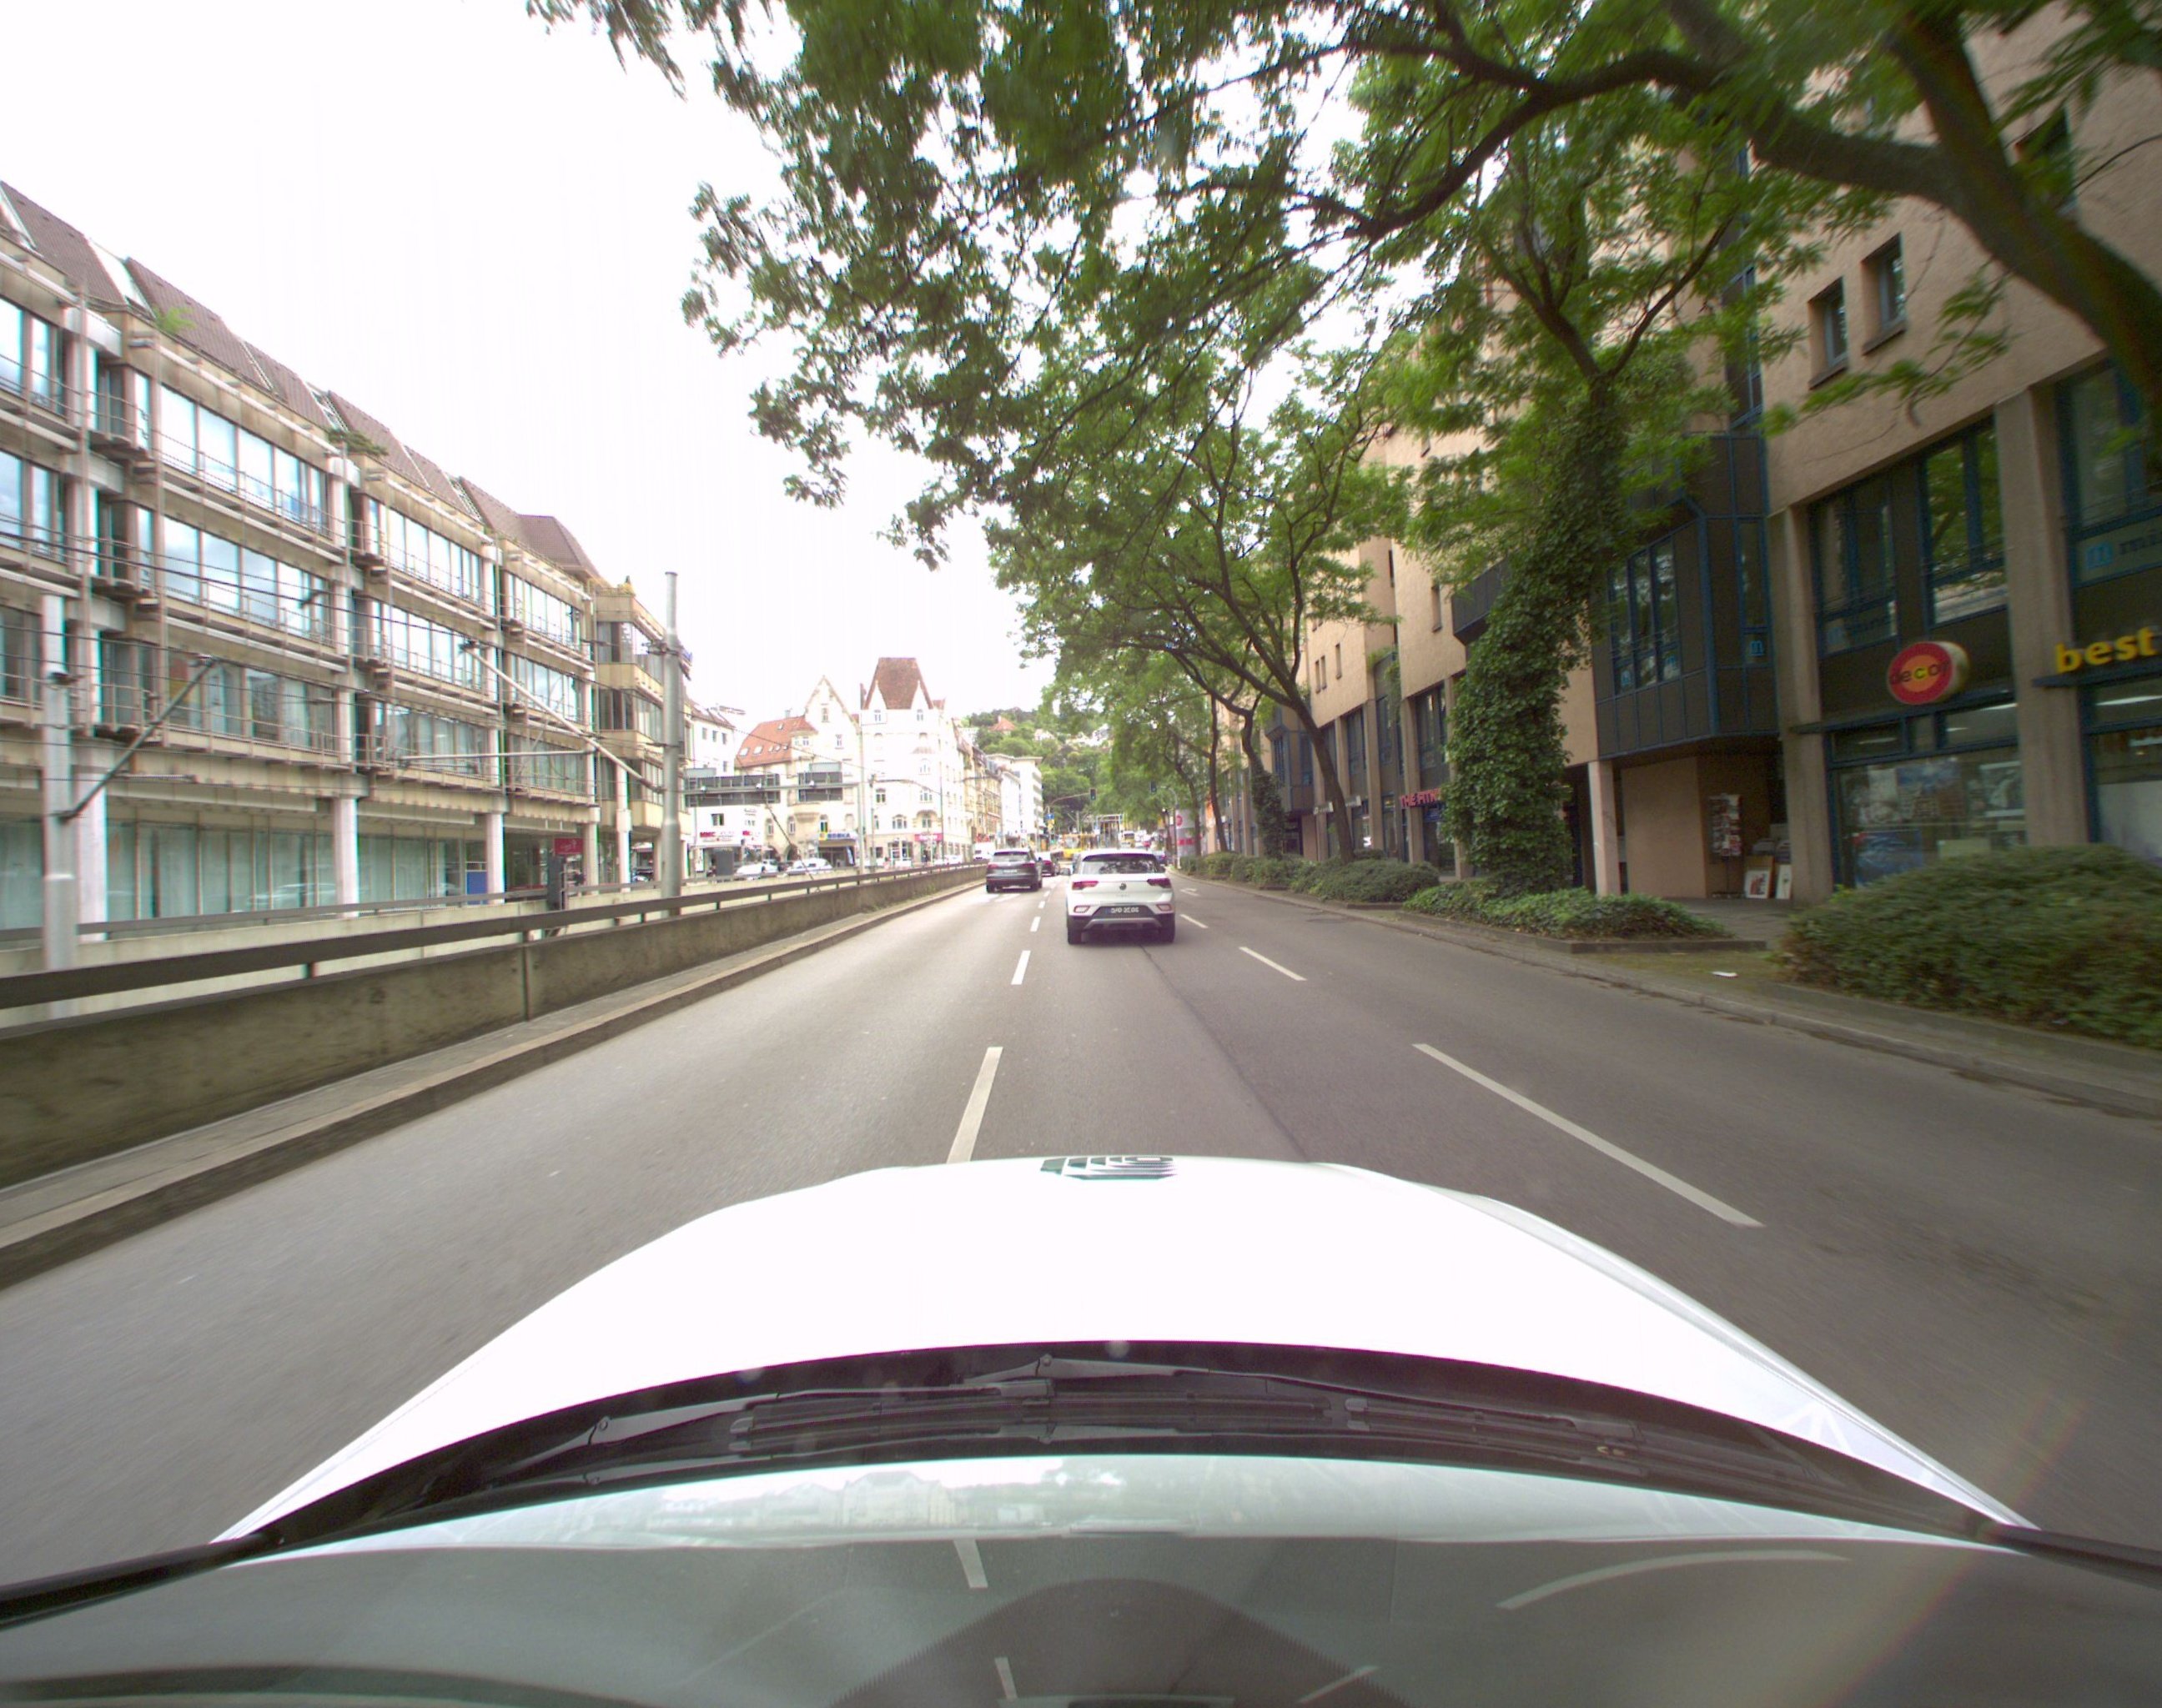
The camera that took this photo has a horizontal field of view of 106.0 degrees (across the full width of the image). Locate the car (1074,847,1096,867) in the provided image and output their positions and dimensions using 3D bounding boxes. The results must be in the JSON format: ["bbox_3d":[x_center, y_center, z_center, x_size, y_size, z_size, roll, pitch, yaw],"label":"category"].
[{"bbox_3d":[0.342,0.263,72.358,1.879,1.684,4.159,-1,0,-1],"label":"car"}]

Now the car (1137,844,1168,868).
[{"bbox_3d":[6.296,0.163,72.631,2.357,2.013,5.148,-1,0,0],"label":"car"}]

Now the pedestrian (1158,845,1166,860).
[{"bbox_3d":[10.128,-0.241,101.575,0.690,1.777,0.690,-7,0,1],"label":"pedestrian"}]

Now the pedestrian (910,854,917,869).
[{"bbox_3d":[-20.552,0.893,100.073,0.571,1.780,0.513,-2,0,10],"label":"pedestrian"}]

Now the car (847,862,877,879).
[{"bbox_3d":[-21.087,1.540,78.519,1.658,1.501,4.044,-2,0,1],"label":"car"}]

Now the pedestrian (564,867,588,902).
[{"bbox_3d":[-26.469,1.594,42.694,0.728,1.811,0.740,-1,0,0],"label":"pedestrian"}]

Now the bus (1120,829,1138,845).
[{"bbox_3d":[10.201,-3.466,172.179,3.355,3.064,13.344,-1,0,5],"label":"bus"}]

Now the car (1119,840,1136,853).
[{"bbox_3d":[7.730,-1.217,135.727,2.351,2.013,5.161,-1,0,9],"label":"car"}]

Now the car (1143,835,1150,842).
[{"bbox_3d":[15.649,-3.763,194.418,1.665,1.560,3.684,-1,0,5],"label":"car"}]

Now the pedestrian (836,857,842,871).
[{"bbox_3d":[-31.395,1.318,105.561,0.575,1.780,0.510,-2,0,-9],"label":"pedestrian"}]

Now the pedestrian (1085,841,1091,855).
[{"bbox_3d":[0.909,-0.780,106.626,0.682,1.711,0.713,-2,1,5],"label":"pedestrian"}]

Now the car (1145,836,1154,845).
[{"bbox_3d":[17.738,-3.464,210.420,1.986,2.013,4.002,-1,0,2],"label":"car"}]

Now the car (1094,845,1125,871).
[{"bbox_3d":[1.933,0.260,55.911,1.879,1.684,4.159,-1,0,-1],"label":"car"}]

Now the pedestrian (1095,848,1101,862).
[{"bbox_3d":[2.079,0.123,101.040,0.632,1.711,0.873,-2,1,5],"label":"pedestrian"}]

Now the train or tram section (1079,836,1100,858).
[{"bbox_3d":[1.442,-1.220,133.626,2.821,3.520,5.762,-1,1,6],"label":"train or tram section"}]

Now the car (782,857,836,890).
[{"bbox_3d":[-16.005,1.097,48.165,1.830,1.842,4.599,1,0,-3],"label":"car"}]

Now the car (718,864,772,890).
[{"bbox_3d":[-22.404,1.506,54.466,1.658,1.501,4.414,-2,0,1],"label":"car"}]

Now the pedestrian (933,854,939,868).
[{"bbox_3d":[-18.104,0.872,101.505,0.505,1.780,0.580,-2,0,20],"label":"pedestrian"}]

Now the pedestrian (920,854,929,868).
[{"bbox_3d":[-19.415,0.882,101.023,0.703,1.780,0.599,-2,0,21],"label":"pedestrian"}]

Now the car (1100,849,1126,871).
[{"bbox_3d":[3.112,0.559,77.787,2.355,2.013,5.152,-1,0,3],"label":"car"}]

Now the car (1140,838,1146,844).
[{"bbox_3d":[17.062,-3.548,224.661,1.665,1.560,3.684,-1,0,5],"label":"car"}]

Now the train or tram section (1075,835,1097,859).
[{"bbox_3d":[0.838,-1.119,127.888,2.821,3.520,5.762,-1,1,6],"label":"train or tram section"}]

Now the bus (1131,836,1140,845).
[{"bbox_3d":[13.783,-3.385,206.468,1.987,2.013,4.000,-1,0,1],"label":"bus"}]

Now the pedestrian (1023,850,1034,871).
[{"bbox_3d":[-4.420,0.572,68.039,0.761,1.721,0.638,-2,0,5],"label":"pedestrian"}]

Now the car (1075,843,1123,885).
[{"bbox_3d":[0.723,0.414,35.646,1.879,1.684,4.159,-1,0,-1],"label":"car"}]

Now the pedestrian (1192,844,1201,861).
[{"bbox_3d":[13.290,-0.164,93.619,0.832,2.013,0.764,-1,0,1],"label":"pedestrian"}]

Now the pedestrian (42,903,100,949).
[{"bbox_3d":[-29.071,2.066,23.454,0.728,1.265,0.740,-1,0,0],"label":"pedestrian"}]

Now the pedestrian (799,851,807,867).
[{"bbox_3d":[-30.832,0.523,90.360,0.569,1.780,0.515,-2,0,31],"label":"pedestrian"}]

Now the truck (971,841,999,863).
[{"bbox_3d":[-13.736,-0.287,117.072,2.254,3.076,7.390,-1,0,8],"label":"truck"}]

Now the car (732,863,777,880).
[{"bbox_3d":[-32.292,1.714,80.591,4.043,1.501,1.658,-2,0,-20],"label":"car"}]

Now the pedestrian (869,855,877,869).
[{"bbox_3d":[-25.851,1.006,101.222,0.777,1.705,0.655,-2,0,11],"label":"pedestrian"}]

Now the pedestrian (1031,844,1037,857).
[{"bbox_3d":[-6.486,-0.533,112.821,0.623,1.762,0.848,-2,0,6],"label":"pedestrian"}]

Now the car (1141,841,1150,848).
[{"bbox_3d":[12.727,-1.838,160.838,1.574,1.172,3.684,-1,0,5],"label":"car"}]

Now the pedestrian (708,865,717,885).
[{"bbox_3d":[-33.534,1.943,74.119,0.507,1.780,0.578,-2,0,7],"label":"pedestrian"}]

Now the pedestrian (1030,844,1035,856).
[{"bbox_3d":[-6.997,-0.528,117.474,0.634,1.711,0.689,-2,1,-4],"label":"pedestrian"}]

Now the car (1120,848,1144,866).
[{"bbox_3d":[5.751,0.344,92.127,2.357,2.013,5.148,-1,0,0],"label":"car"}]

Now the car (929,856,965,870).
[{"bbox_3d":[-16.271,1.052,99.009,1.732,1.560,4.542,-1,0,30],"label":"car"}]

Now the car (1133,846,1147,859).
[{"bbox_3d":[8.513,-0.211,117.434,1.875,1.684,4.168,-1,0,6],"label":"car"}]

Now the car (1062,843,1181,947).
[{"bbox_3d":[0.596,0.641,14.764,1.832,1.584,4.155,-1,0,-1],"label":"car"}]

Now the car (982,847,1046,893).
[{"bbox_3d":[-2.546,0.579,31.944,1.986,1.636,4.002,-2,0,2],"label":"car"}]

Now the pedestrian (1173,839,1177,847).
[{"bbox_3d":[18.603,-2.240,161.452,0.637,1.615,0.584,-1,0,-15],"label":"pedestrian"}]

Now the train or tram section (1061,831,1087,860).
[{"bbox_3d":[-0.849,-1.161,110.635,2.821,3.678,5.762,-1,1,6],"label":"train or tram section"}]
